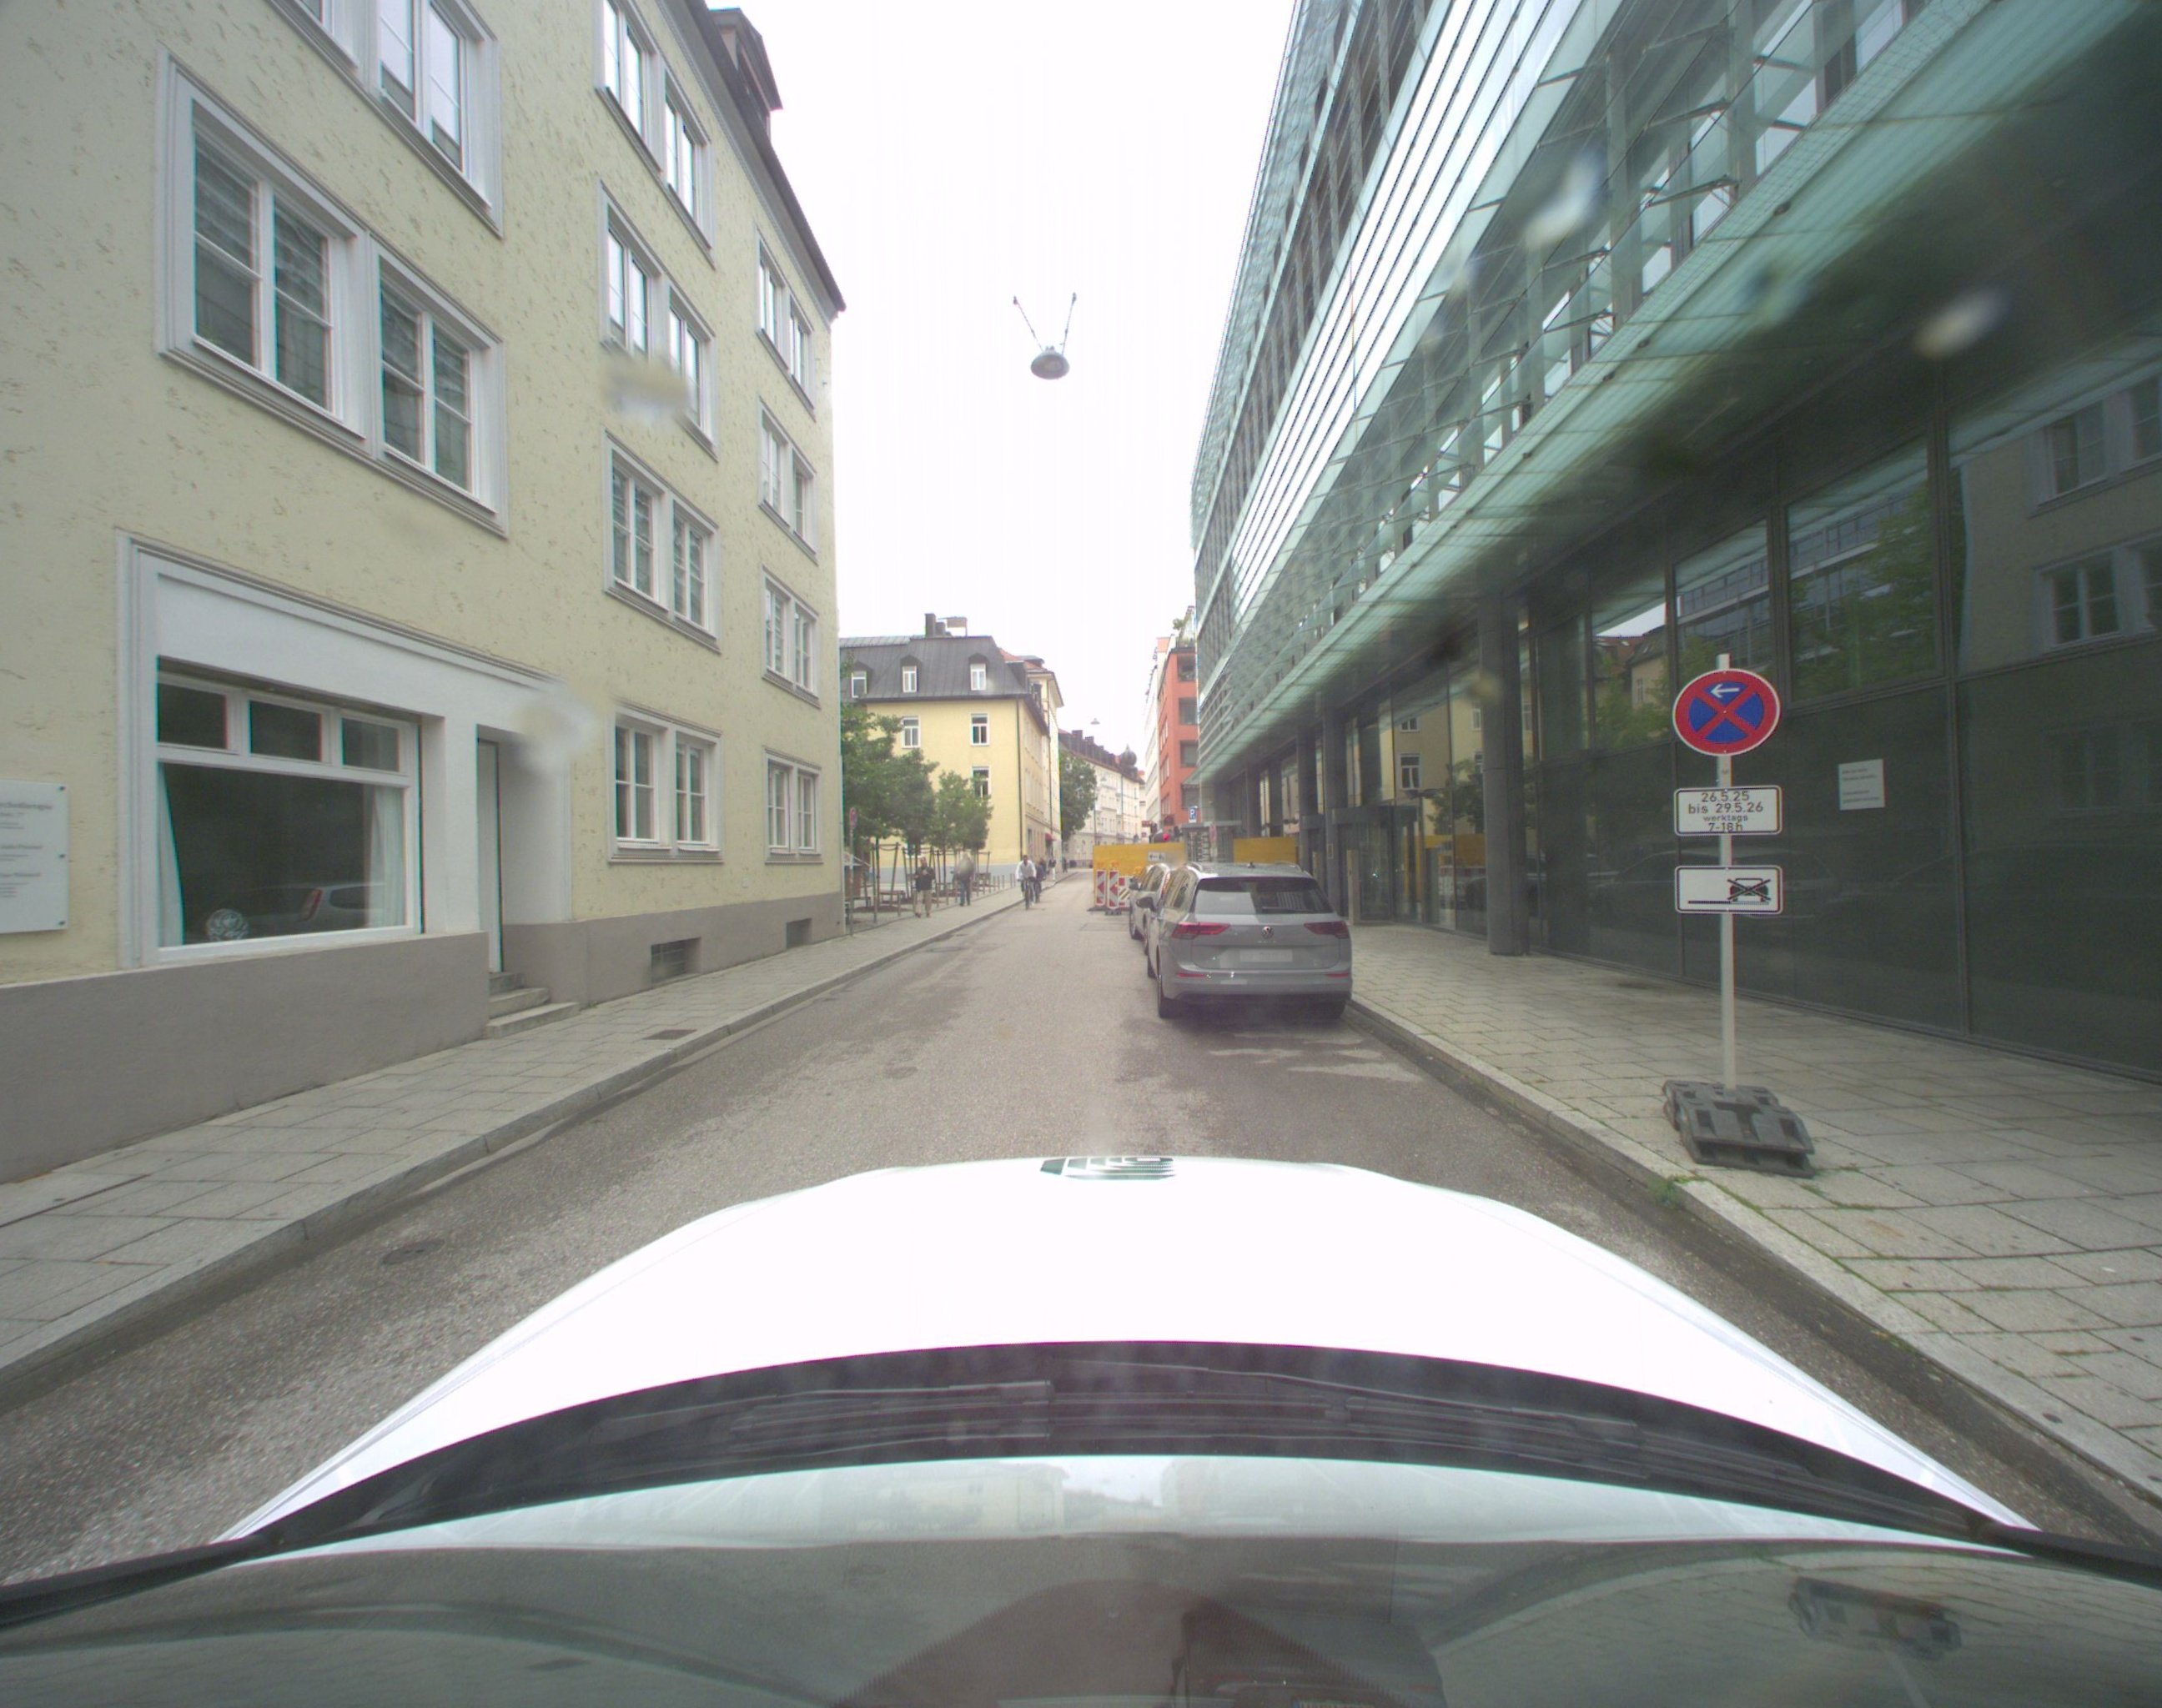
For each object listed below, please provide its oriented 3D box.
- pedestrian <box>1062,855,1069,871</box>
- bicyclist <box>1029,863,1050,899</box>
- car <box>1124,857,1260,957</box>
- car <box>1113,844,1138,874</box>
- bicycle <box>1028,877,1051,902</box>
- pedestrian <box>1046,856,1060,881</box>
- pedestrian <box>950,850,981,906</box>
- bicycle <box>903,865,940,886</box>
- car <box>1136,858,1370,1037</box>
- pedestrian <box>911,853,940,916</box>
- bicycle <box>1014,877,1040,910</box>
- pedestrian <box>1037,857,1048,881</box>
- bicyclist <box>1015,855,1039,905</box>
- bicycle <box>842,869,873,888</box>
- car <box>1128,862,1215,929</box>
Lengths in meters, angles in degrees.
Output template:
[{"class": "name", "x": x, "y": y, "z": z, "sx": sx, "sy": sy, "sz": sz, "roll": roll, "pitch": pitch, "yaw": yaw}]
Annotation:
[{"class": "pedestrian", "x": -1.590, "y": 0.962, "z": 84.268, "sx": 0.632, "sy": 1.675, "sz": 0.518, "roll": -1, "pitch": -1, "yaw": 1}, {"class": "bicyclist", "x": -1.631, "y": 1.055, "z": 32.132, "sx": 0.705, "sy": 1.371, "sz": 0.813, "roll": -2, "pitch": -1, "yaw": 1}, {"class": "car", "x": 1.759, "y": 0.813, "z": 14.178, "sx": 1.703, "sy": 1.467, "sz": 4.234, "roll": 0, "pitch": -1, "yaw": -2}, {"class": "car", "x": 3.879, "y": 0.415, "z": 71.459, "sx": 1.986, "sy": 2.537, "sz": 4.976, "roll": -1, "pitch": 0, "yaw": 1}, {"class": "bicycle", "x": -1.627, "y": 1.384, "z": 32.184, "sx": 0.705, "sy": 0.905, "sz": 1.810, "roll": -2, "pitch": -1, "yaw": 1}, {"class": "pedestrian", "x": -1.934, "y": 0.995, "z": 56.226, "sx": 0.836, "sy": 1.700, "sz": 0.803, "roll": -1, "pitch": -1, "yaw": 1}, {"class": "pedestrian", "x": -4.011, "y": 0.832, "z": 28.373, "sx": 0.864, "sy": 1.881, "sz": 1.135, "roll": -1, "pitch": -1, "yaw": 1}, {"class": "bicycle", "x": -9.526, "y": 1.302, "z": 48.607, "sx": 2.031, "sy": 1.198, "sz": 0.571, "roll": -1, "pitch": -1, "yaw": 8}, {"class": "car", "x": 1.562, "y": 0.792, "z": 8.885, "sx": 1.702, "sy": 1.432, "sz": 4.330, "roll": -2, "pitch": -1, "yaw": 1}, {"class": "pedestrian", "x": -4.247, "y": 0.830, "z": 22.274, "sx": 0.645, "sy": 1.676, "sz": 0.724, "roll": -1, "pitch": -1, "yaw": 1}, {"class": "bicycle", "x": -1.812, "y": 1.313, "z": 27.538, "sx": 0.659, "sy": 1.039, "sz": 2.005, "roll": -2, "pitch": -1, "yaw": 2}, {"class": "pedestrian", "x": -2.665, "y": 1.012, "z": 56.636, "sx": 0.668, "sy": 1.648, "sz": 0.762, "roll": -1, "pitch": -1, "yaw": 1}, {"class": "bicyclist", "x": -1.816, "y": 0.874, "z": 27.613, "sx": 0.657, "sy": 1.643, "sz": 0.895, "roll": -2, "pitch": -1, "yaw": 1}, {"class": "bicycle", "x": -13.265, "y": 1.460, "z": 48.407, "sx": 1.648, "sy": 1.069, "sz": 0.599, "roll": -1, "pitch": -1, "yaw": 5}, {"class": "car", "x": 2.031, "y": 0.900, "z": 19.334, "sx": 1.701, "sy": 1.414, "sz": 4.511, "roll": 0, "pitch": -1, "yaw": 2}]
